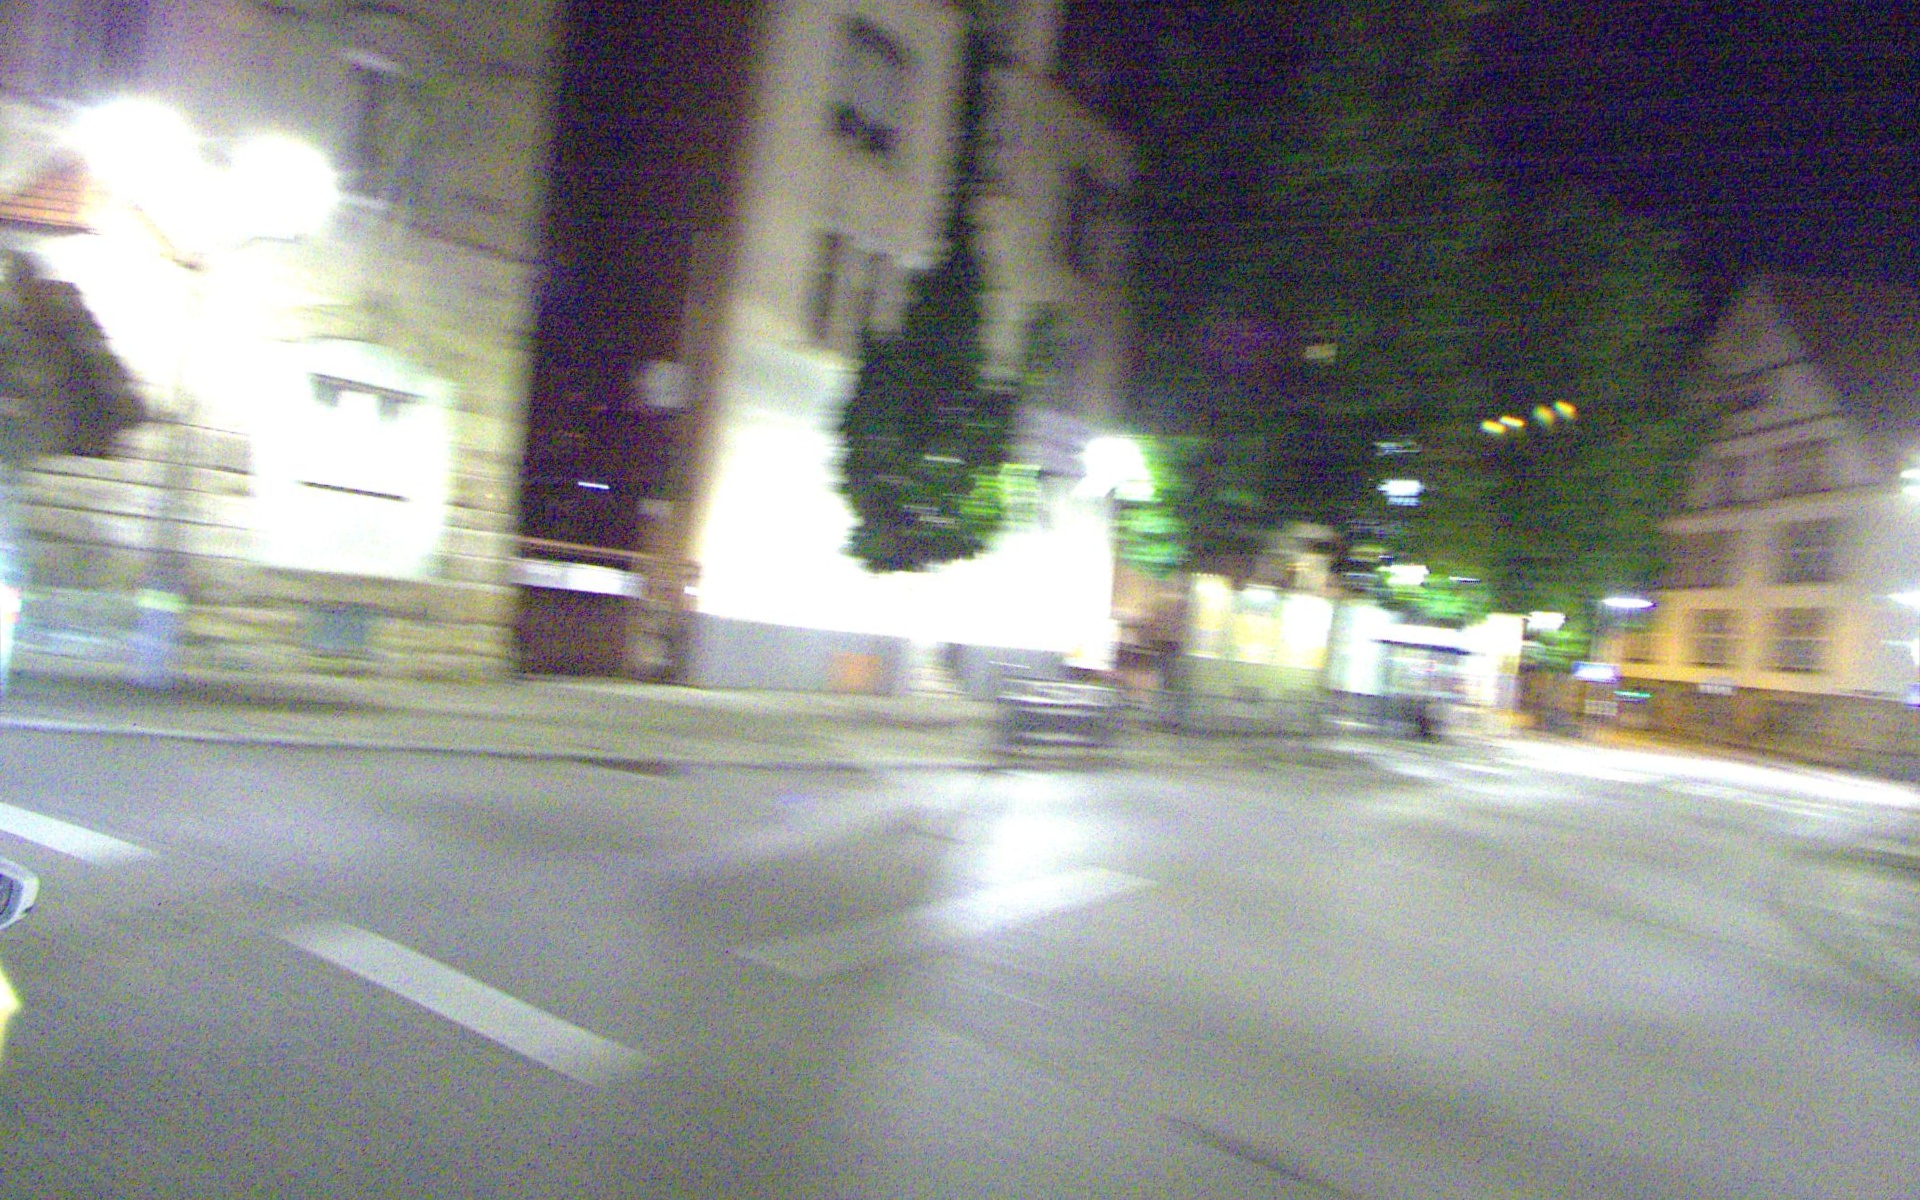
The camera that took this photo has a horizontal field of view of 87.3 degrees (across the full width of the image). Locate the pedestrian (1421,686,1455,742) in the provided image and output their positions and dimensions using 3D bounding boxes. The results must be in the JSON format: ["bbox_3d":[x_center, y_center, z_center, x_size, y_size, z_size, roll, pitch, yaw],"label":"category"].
[{"bbox_3d":[11.938,2.848,25.124,0.463,1.315,0.508,7,0,-43],"label":"pedestrian"}]

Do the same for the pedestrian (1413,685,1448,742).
[{"bbox_3d":[11.594,2.798,24.798,0.463,1.315,0.508,7,0,-43],"label":"pedestrian"}]
